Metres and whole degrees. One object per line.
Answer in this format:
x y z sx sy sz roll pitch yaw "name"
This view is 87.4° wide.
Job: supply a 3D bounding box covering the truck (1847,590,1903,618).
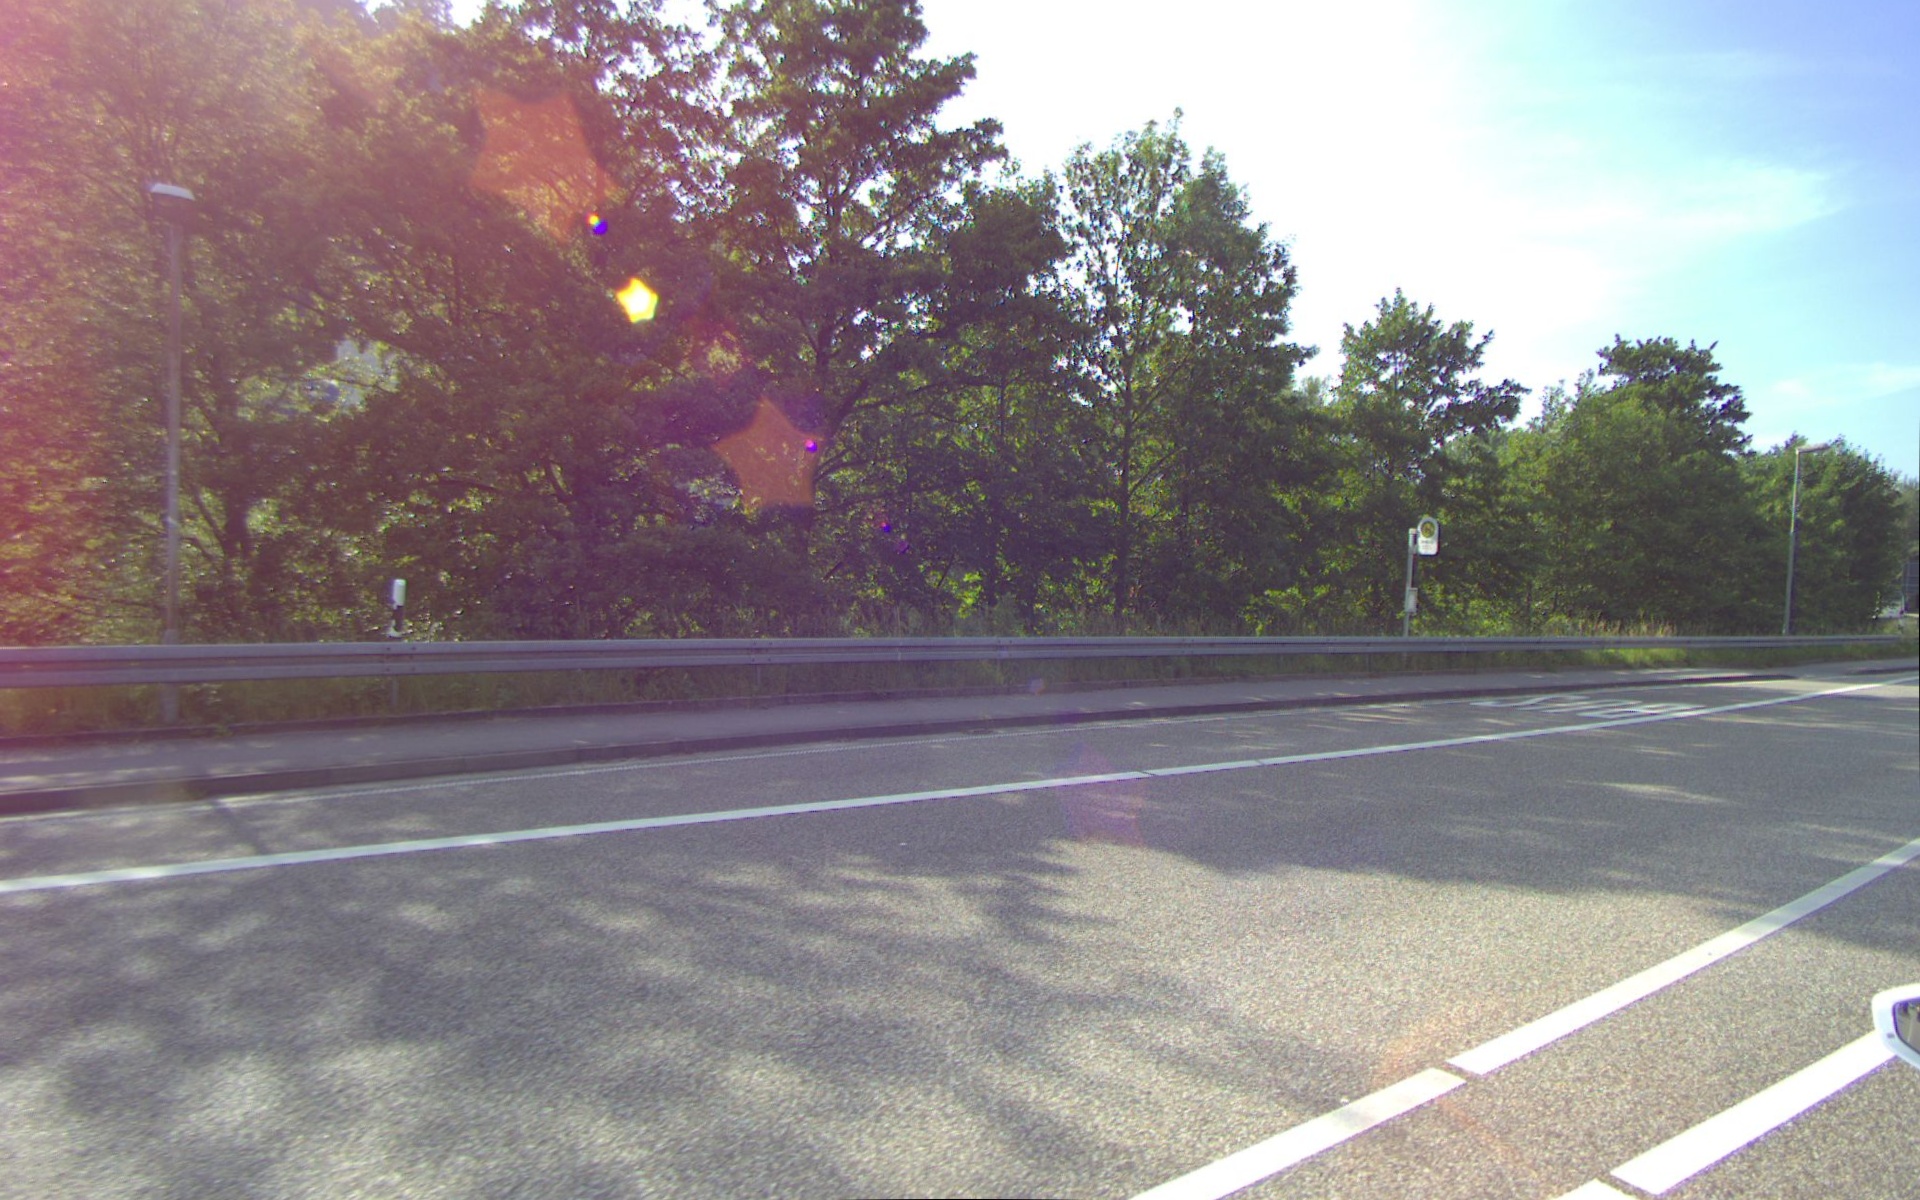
111.714 0.486 122.708 2.667 3.125 6.108 3 2 19 "truck"
